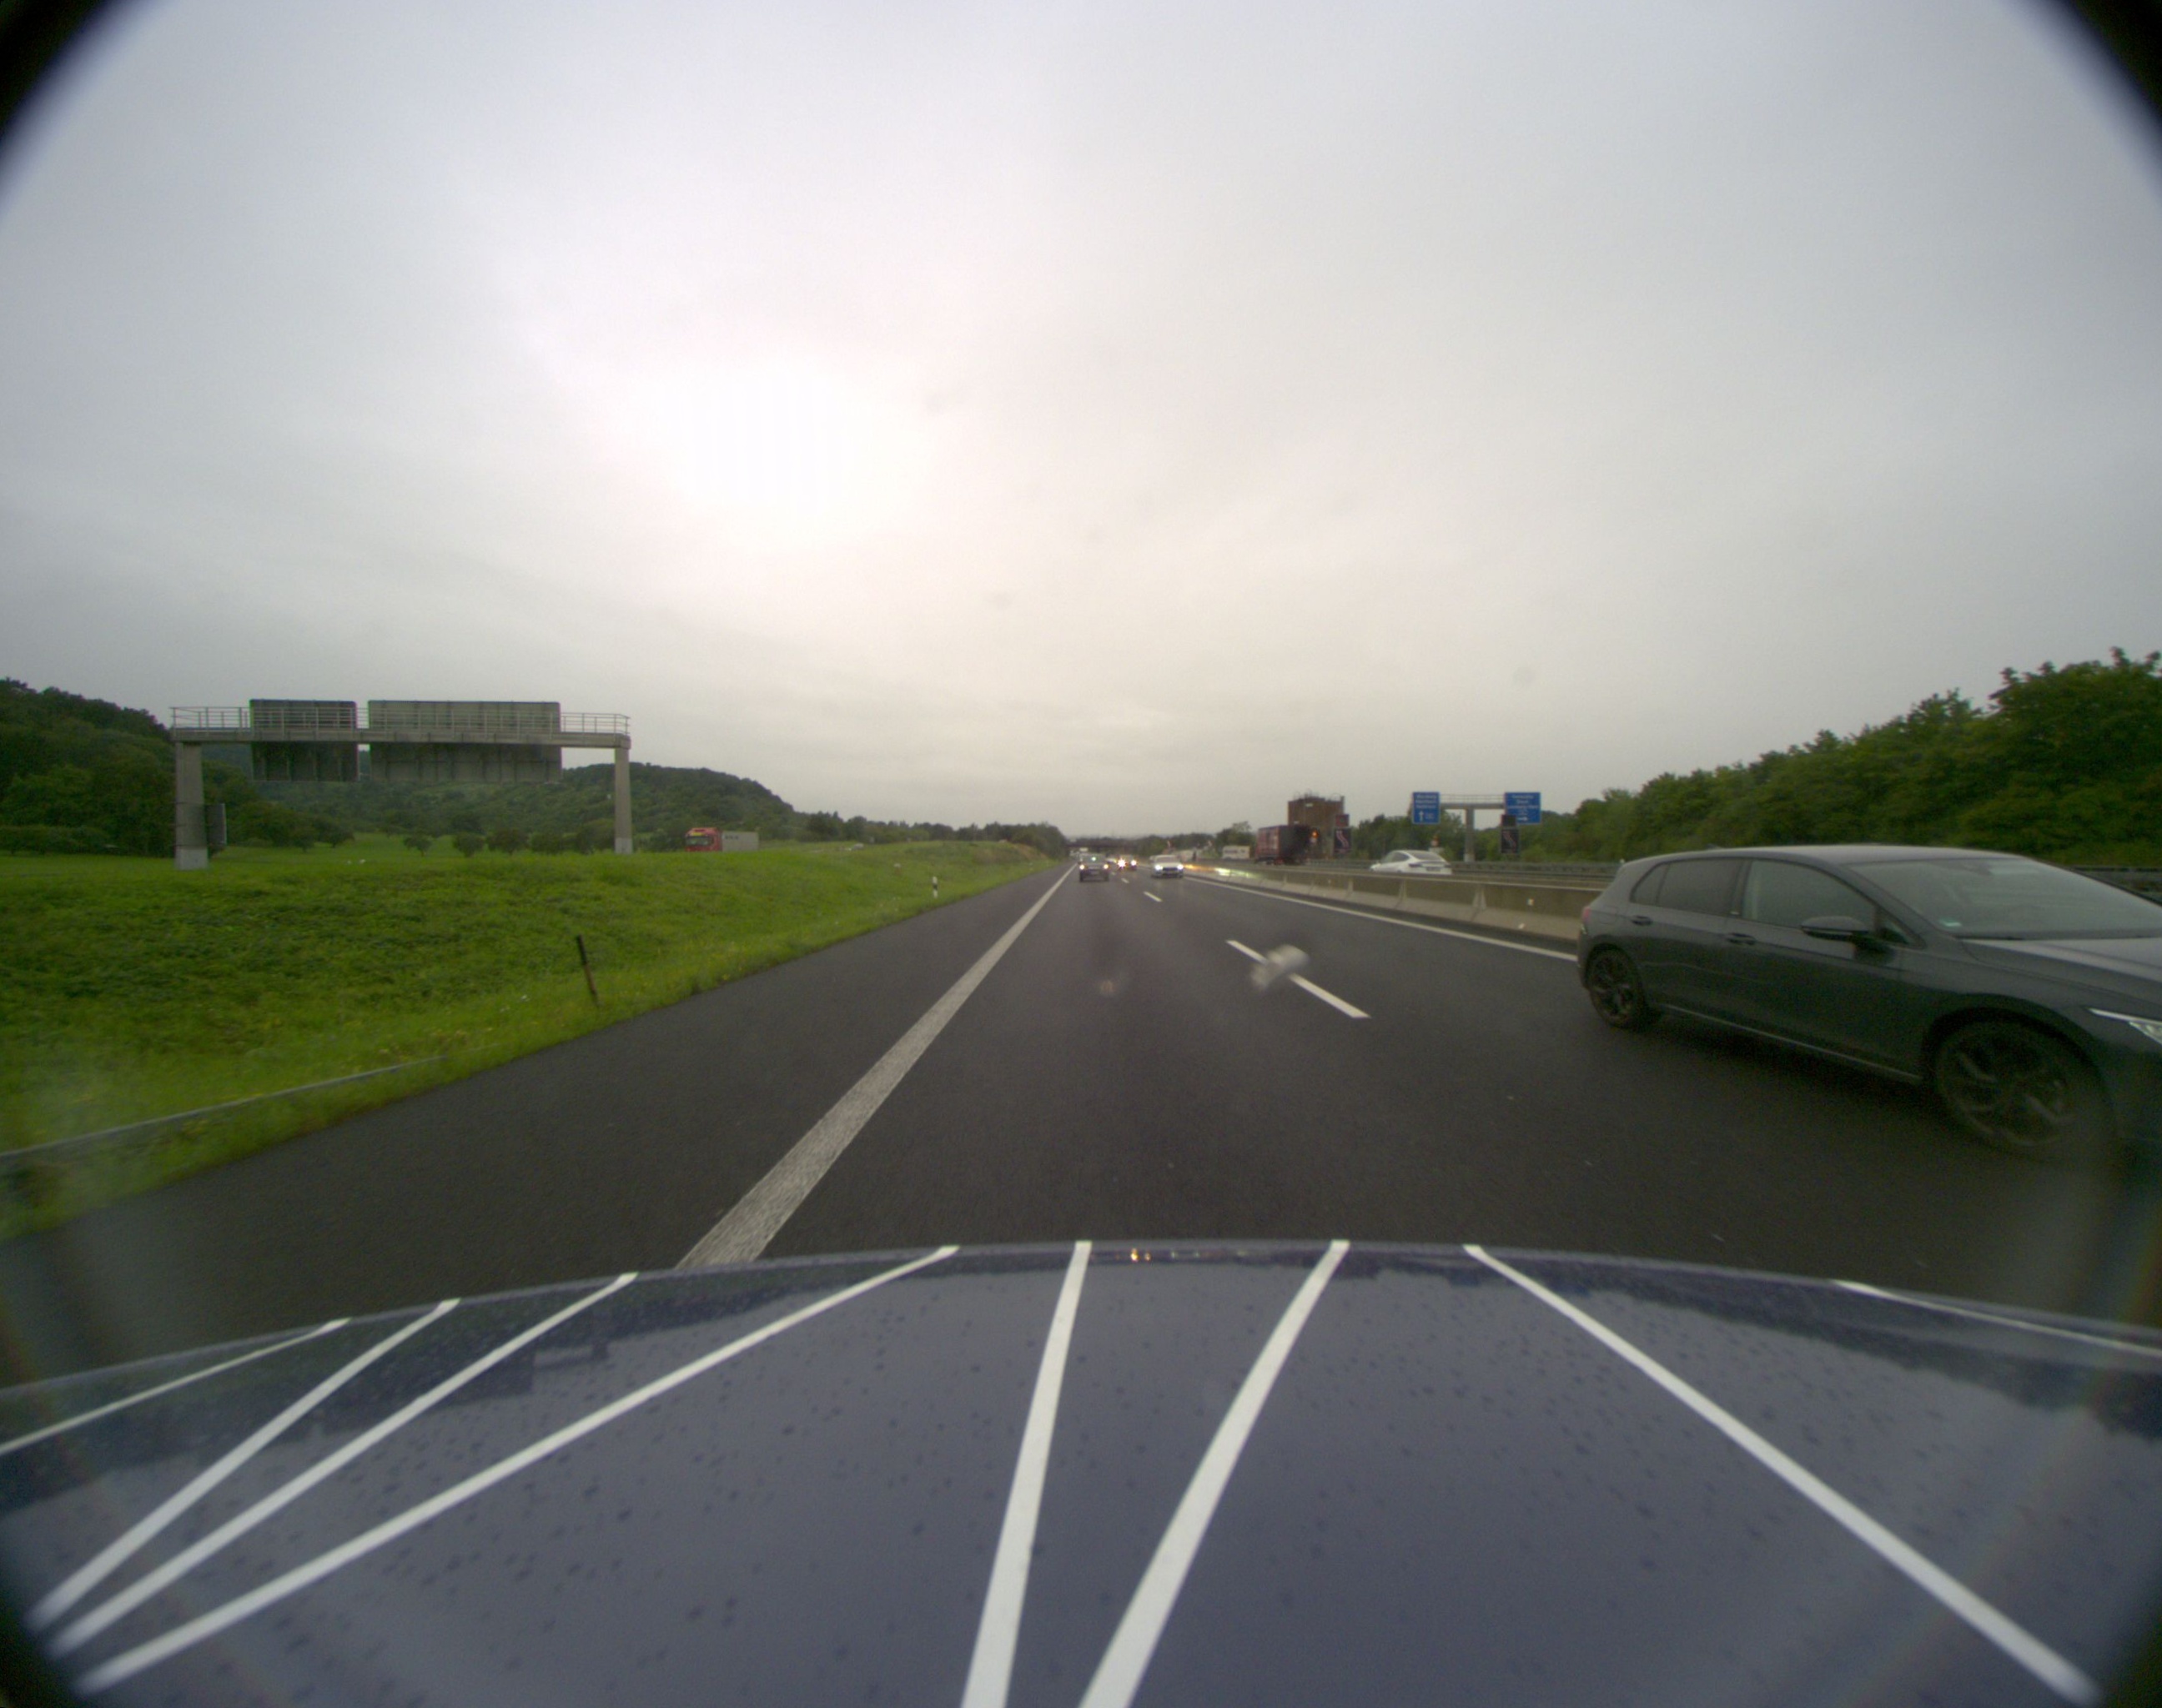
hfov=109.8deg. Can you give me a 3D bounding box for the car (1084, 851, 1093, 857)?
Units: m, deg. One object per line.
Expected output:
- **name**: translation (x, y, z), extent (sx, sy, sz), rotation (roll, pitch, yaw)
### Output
- **car**: translation (1.795, -0.002, 183.368), extent (1.942, 1.341, 4.000), rotation (-3, 0, 1)

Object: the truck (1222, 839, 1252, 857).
- **truck**: translation (33.974, -1.222, 166.145), extent (3.185, 3.786, 17.134), rotation (-1, 0, 1)

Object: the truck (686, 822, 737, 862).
- **truck**: translation (-38.098, -1.204, 78.599), extent (2.515, 3.964, 5.925), rotation (-3, 1, -4)

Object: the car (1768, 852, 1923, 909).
- **car**: translation (29.034, 0.922, 29.077), extent (1.678, 2.002, 4.277), rotation (-1, 0, 1)

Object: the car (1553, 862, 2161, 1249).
- **car**: translation (5.094, 0.807, 4.470), extent (1.835, 1.417, 4.367), rotation (-2, 0, -1)

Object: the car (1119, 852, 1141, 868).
- **car**: translation (4.712, 0.575, 73.754), extent (1.835, 1.417, 4.368), rotation (-3, 0, 2)

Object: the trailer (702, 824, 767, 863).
- **trailer**: translation (-38.628, -1.159, 85.350), extent (2.498, 3.961, 12.398), rotation (-3, 1, -5)

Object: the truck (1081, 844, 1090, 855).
- **truck**: translation (1.435, -1.472, 239.078), extent (2.728, 3.098, 7.960), rotation (-3, 0, 1)

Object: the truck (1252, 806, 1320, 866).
- **truck**: translation (17.683, -1.454, 66.466), extent (3.408, 4.705, 10.486), rotation (-2, 0, 2)

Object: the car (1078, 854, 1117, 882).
- **car**: translation (1.026, 0.805, 46.415), extent (2.242, 1.565, 4.817), rotation (-2, 0, 2)

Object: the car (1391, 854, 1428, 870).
- **car**: translation (29.426, 0.700, 68.156), extent (1.526, 1.390, 4.000), rotation (-2, 0, 1)

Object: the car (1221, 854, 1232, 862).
- **car**: translation (29.906, 0.828, 156.107), extent (1.575, 1.475, 4.047), rotation (-2, 1, 2)

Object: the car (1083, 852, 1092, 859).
- **car**: translation (1.520, 0.376, 177.116), extent (1.942, 1.341, 4.000), rotation (-3, 0, 1)

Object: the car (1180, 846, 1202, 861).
- **car**: translation (14.024, -0.098, 97.346), extent (1.999, 1.852, 5.220), rotation (0, 0, 0)

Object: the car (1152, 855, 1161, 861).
- **car**: translation (19.126, 0.985, 191.562), extent (1.998, 1.652, 4.314), rotation (-1, 0, 3)

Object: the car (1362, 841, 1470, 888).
- **car**: translation (13.731, 0.406, 31.550), extent (2.161, 1.755, 4.959), rotation (-1, 0, -1)

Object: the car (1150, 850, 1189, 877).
- **car**: translation (5.684, 0.569, 49.506), extent (1.998, 1.582, 4.816), rotation (-2, 0, 1)

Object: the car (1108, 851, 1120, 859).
- **car**: translation (5.870, 0.164, 136.676), extent (1.942, 1.341, 4.000), rotation (-4, 0, 1)

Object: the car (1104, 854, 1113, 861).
- **car**: translation (6.570, 0.787, 179.897), extent (1.998, 1.565, 4.000), rotation (-2, 0, 1)

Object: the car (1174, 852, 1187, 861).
- **car**: translation (18.165, 0.407, 138.940), extent (1.728, 1.543, 4.582), rotation (-2, 0, 0)
